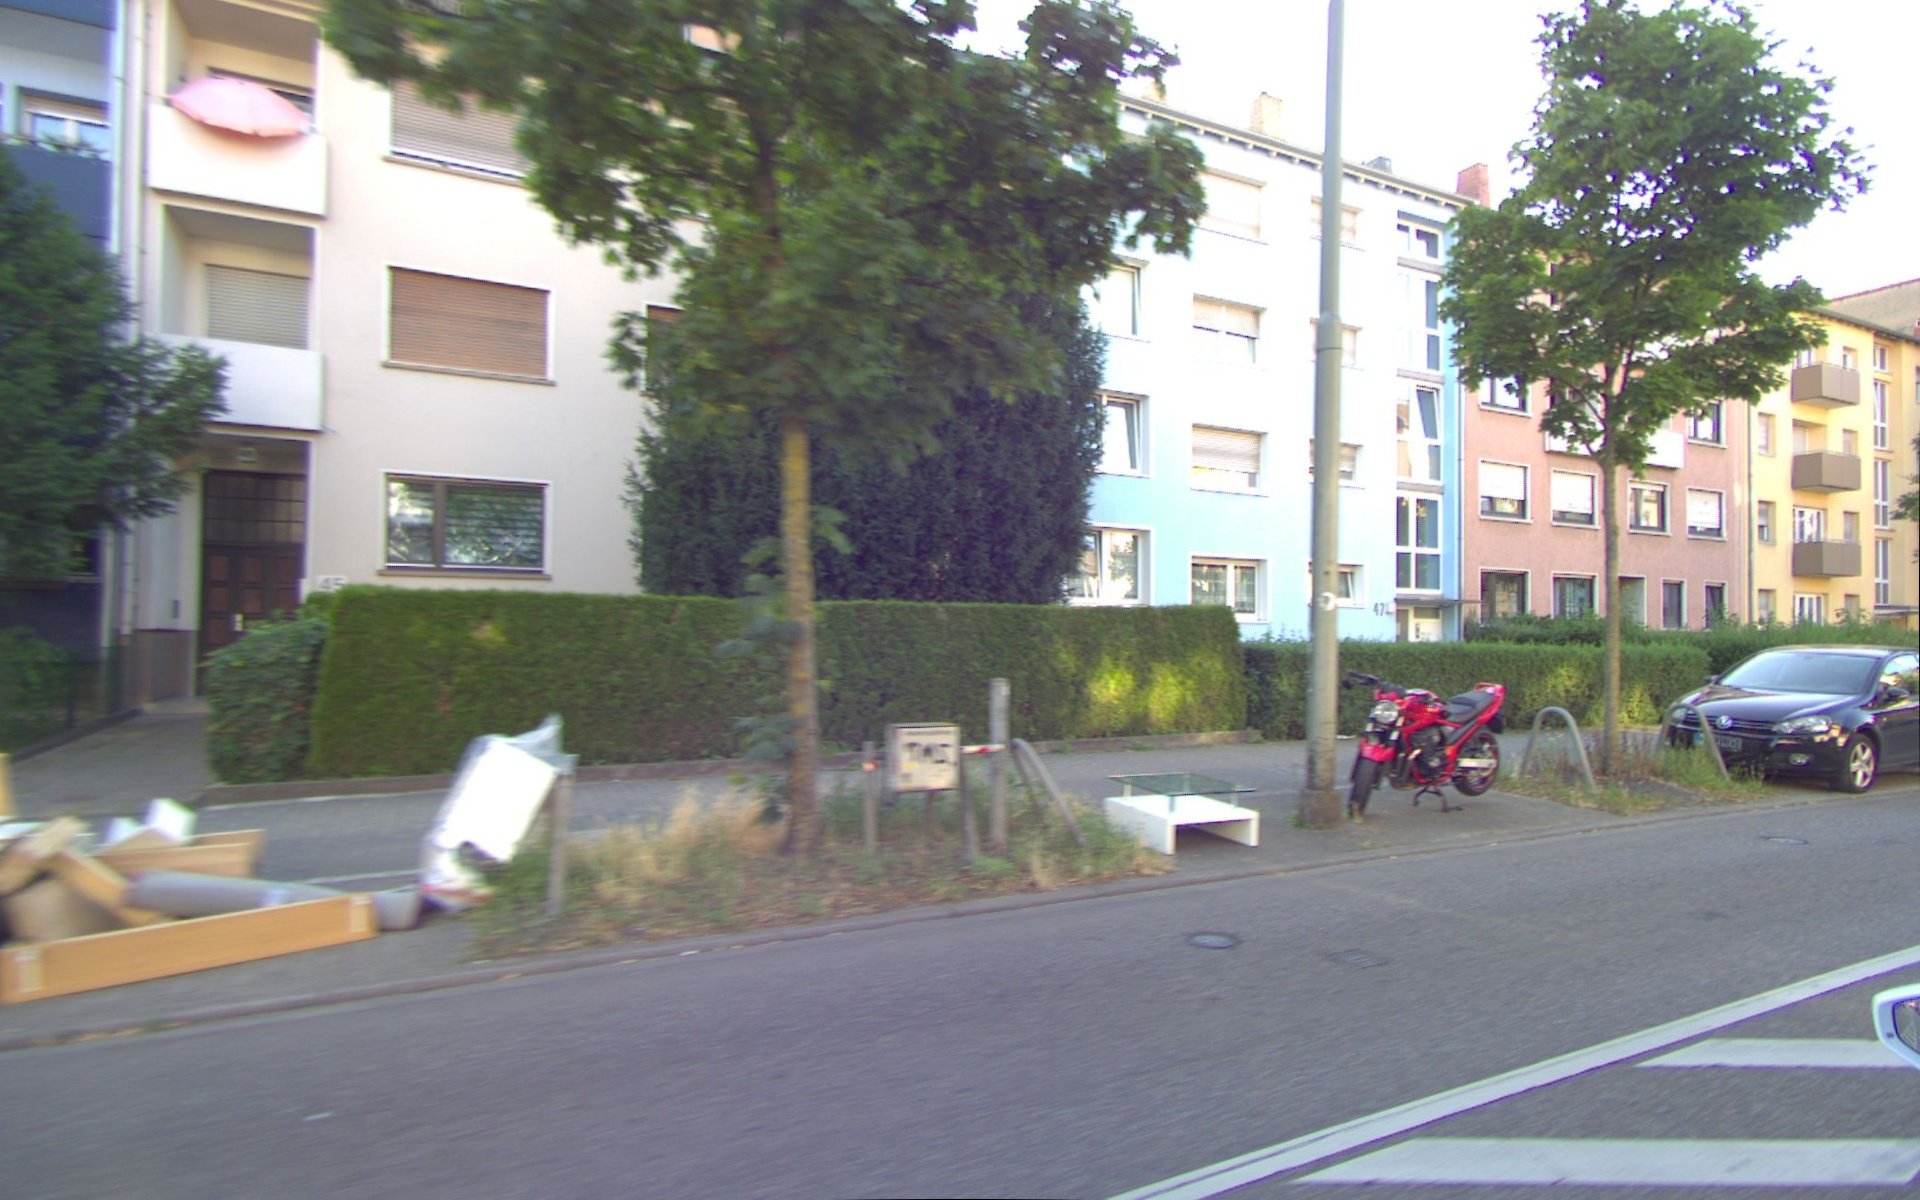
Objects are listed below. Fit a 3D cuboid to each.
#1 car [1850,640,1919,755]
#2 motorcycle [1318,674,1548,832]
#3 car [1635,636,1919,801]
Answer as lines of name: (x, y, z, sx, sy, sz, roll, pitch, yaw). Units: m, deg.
car: (14.341, 1.355, 14.093, 3.595, 1.512, 1.585, 2, -1, -27)
motorcycle: (4.085, 1.247, 8.616, 2.146, 1.151, 0.636, 1, 0, -29)
car: (9.967, 1.226, 11.499, 4.258, 1.537, 1.832, 1, 0, -26)
